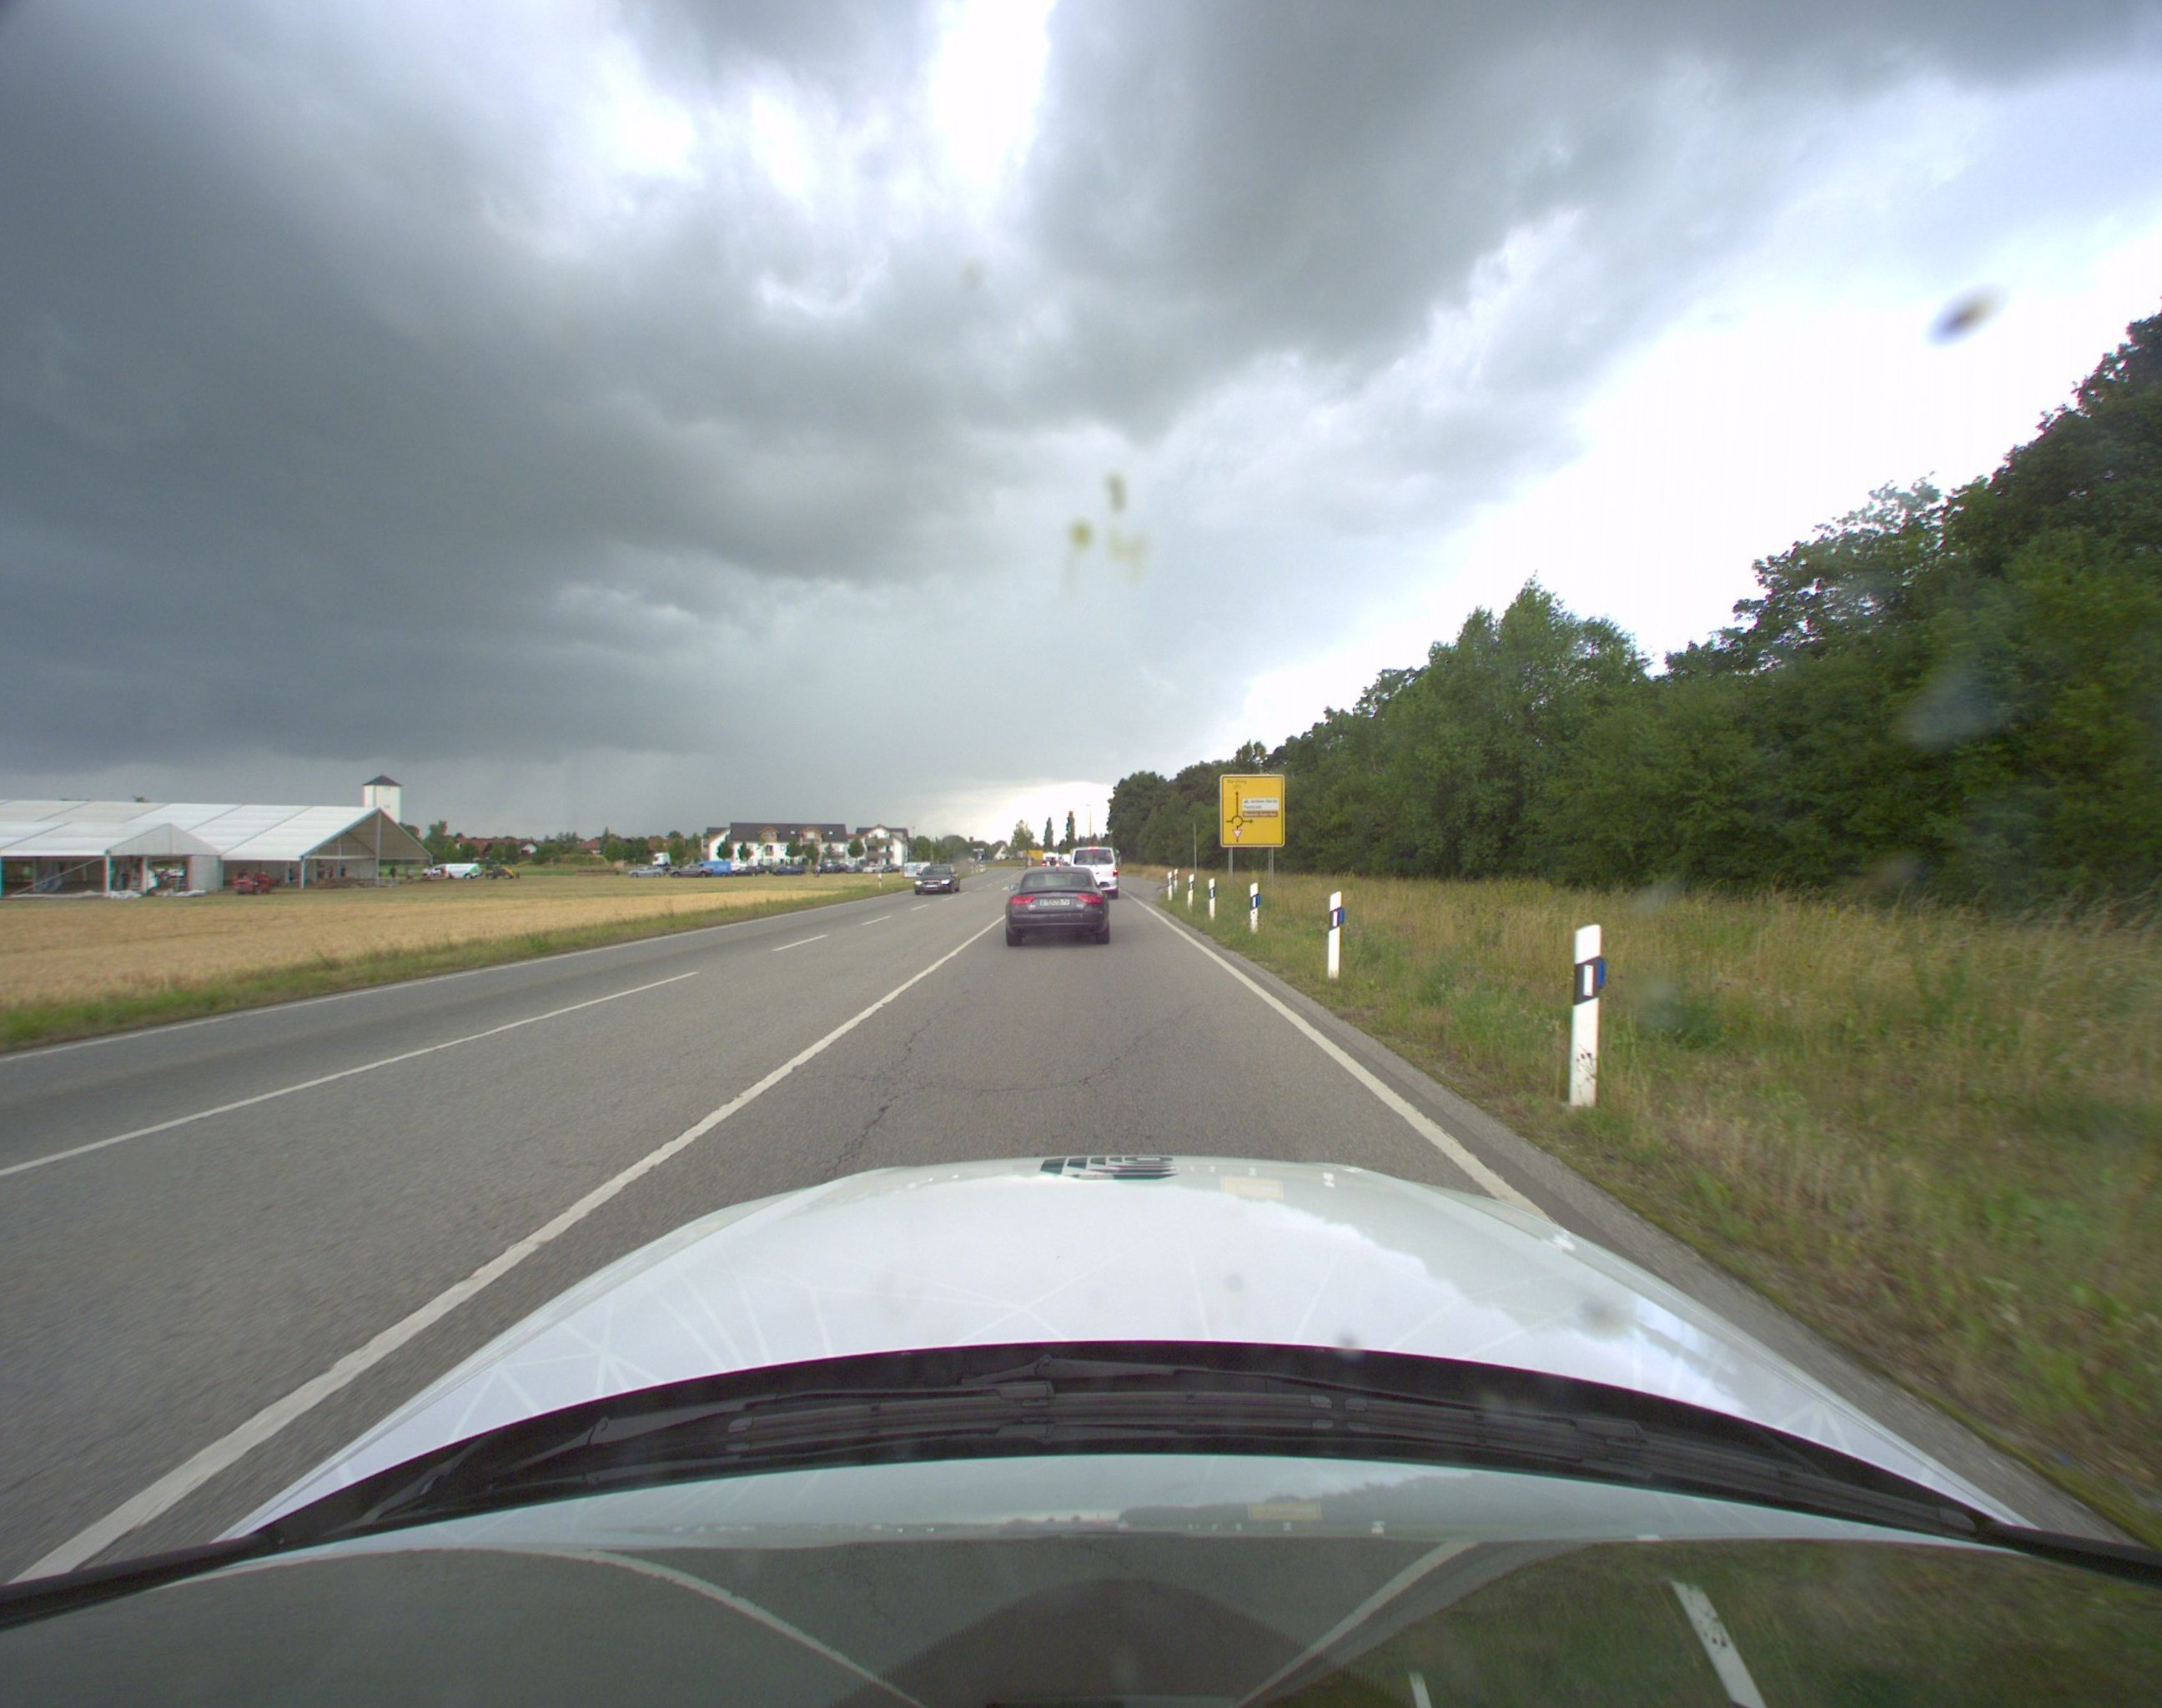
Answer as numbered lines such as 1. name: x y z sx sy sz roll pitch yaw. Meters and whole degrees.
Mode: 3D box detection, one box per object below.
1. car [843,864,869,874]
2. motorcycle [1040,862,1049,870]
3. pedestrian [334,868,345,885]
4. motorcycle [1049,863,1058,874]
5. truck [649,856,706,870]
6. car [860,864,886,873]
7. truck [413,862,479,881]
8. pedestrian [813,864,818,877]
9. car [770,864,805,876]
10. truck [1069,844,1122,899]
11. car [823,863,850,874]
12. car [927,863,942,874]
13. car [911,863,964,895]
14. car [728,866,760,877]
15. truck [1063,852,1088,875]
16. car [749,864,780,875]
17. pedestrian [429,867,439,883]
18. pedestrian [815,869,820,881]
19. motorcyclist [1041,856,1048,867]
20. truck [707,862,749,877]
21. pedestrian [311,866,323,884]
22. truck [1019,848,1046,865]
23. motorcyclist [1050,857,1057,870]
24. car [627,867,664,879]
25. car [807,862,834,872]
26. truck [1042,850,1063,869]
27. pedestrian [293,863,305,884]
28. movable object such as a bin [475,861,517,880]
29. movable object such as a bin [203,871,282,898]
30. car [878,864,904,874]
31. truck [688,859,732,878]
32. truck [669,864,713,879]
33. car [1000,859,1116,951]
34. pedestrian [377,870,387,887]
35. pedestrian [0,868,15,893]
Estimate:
1. car: -35.324 2.313 127.887 1.978 1.536 4.230 -1 0 17
2. motorcycle: -4.894 1.595 109.364 0.943 1.019 2.278 -1 -1 -7
3. pedestrian: -76.670 2.371 84.173 0.718 1.744 0.660 -1 -1 33
4. motorcycle: -2.842 1.502 84.230 0.917 1.094 2.187 0 -1 -2
5. truck: -77.716 1.701 157.072 9.321 2.530 3.297 -1 -1 -2
6. car: -32.560 2.270 127.556 1.978 1.446 4.230 -1 0 17
7. truck: -78.681 2.111 101.005 6.080 2.217 2.695 0 -1 -29
8. pedestrian: -35.203 2.188 108.059 0.549 1.786 0.675 -1 -1 -13
9. car: -43.273 2.392 120.131 4.734 1.697 1.985 -1 -1 -22
10. truck: 0.505 0.645 31.823 1.898 1.998 4.626 -1 0 -1
11. car: -38.484 2.307 128.250 1.978 1.629 4.230 -1 0 17
12. car: -20.680 2.074 115.093 1.995 1.442 3.984 -1 0 -12
13. car: -7.082 1.204 40.579 1.821 1.410 4.423 -2 0 0
14. car: -48.689 2.532 117.801 4.171 1.519 1.985 -1 -1 -22
15. truck: -0.514 0.840 73.228 2.187 2.014 5.082 -1 -1 -1
16. car: -51.173 2.558 131.824 4.643 1.697 1.985 -1 -1 -22
17. pedestrian: -75.127 2.455 94.609 0.690 1.776 0.691 0 -1 -17
18. pedestrian: -35.234 2.760 108.850 0.591 1.555 0.622 -1 -1 -20
19. motorcyclist: -4.890 1.011 109.315 0.785 1.356 0.852 -1 -1 -7
20. truck: -52.291 2.267 120.629 5.590 2.197 2.586 -1 -1 -24
21. pedestrian: -77.064 2.104 82.107 0.750 1.779 0.736 -1 -1 33
22. truck: -11.095 0.586 184.797 3.587 3.578 9.891 0 0 -19
23. motorcyclist: -2.837 1.003 84.200 0.770 1.383 0.819 0 -1 -2
24. car: -58.756 2.561 109.954 4.319 1.461 1.874 -1 -1 -28
25. car: -41.668 2.069 130.455 1.978 1.629 4.230 -1 0 17
26. truck: -4.333 0.842 123.156 2.624 2.737 5.851 0 -1 -8
27. pedestrian: -76.705 1.934 79.883 0.882 2.014 0.759 0 -1 -42
28. movable object such as a bin: -72.136 2.074 100.470 4.009 2.243 1.868 0 -1 -29
29. movable object such as a bin: -62.449 2.206 60.777 2.601 1.864 4.438 -1 -1 -24
30. car: -29.663 2.309 127.239 1.978 1.446 4.230 -1 0 17
31. truck: -51.481 1.986 113.036 5.473 2.446 2.375 -1 -1 -24
32. truck: -52.129 2.287 108.911 5.256 1.921 2.093 -1 -1 -28
33. car: -0.430 0.852 15.485 1.870 1.454 4.174 -1 0 -2
34. pedestrian: -74.726 2.591 87.057 0.692 1.776 0.689 0 -1 -25
35. pedestrian: -89.802 2.207 67.820 0.863 2.102 0.940 -1 -1 -2
